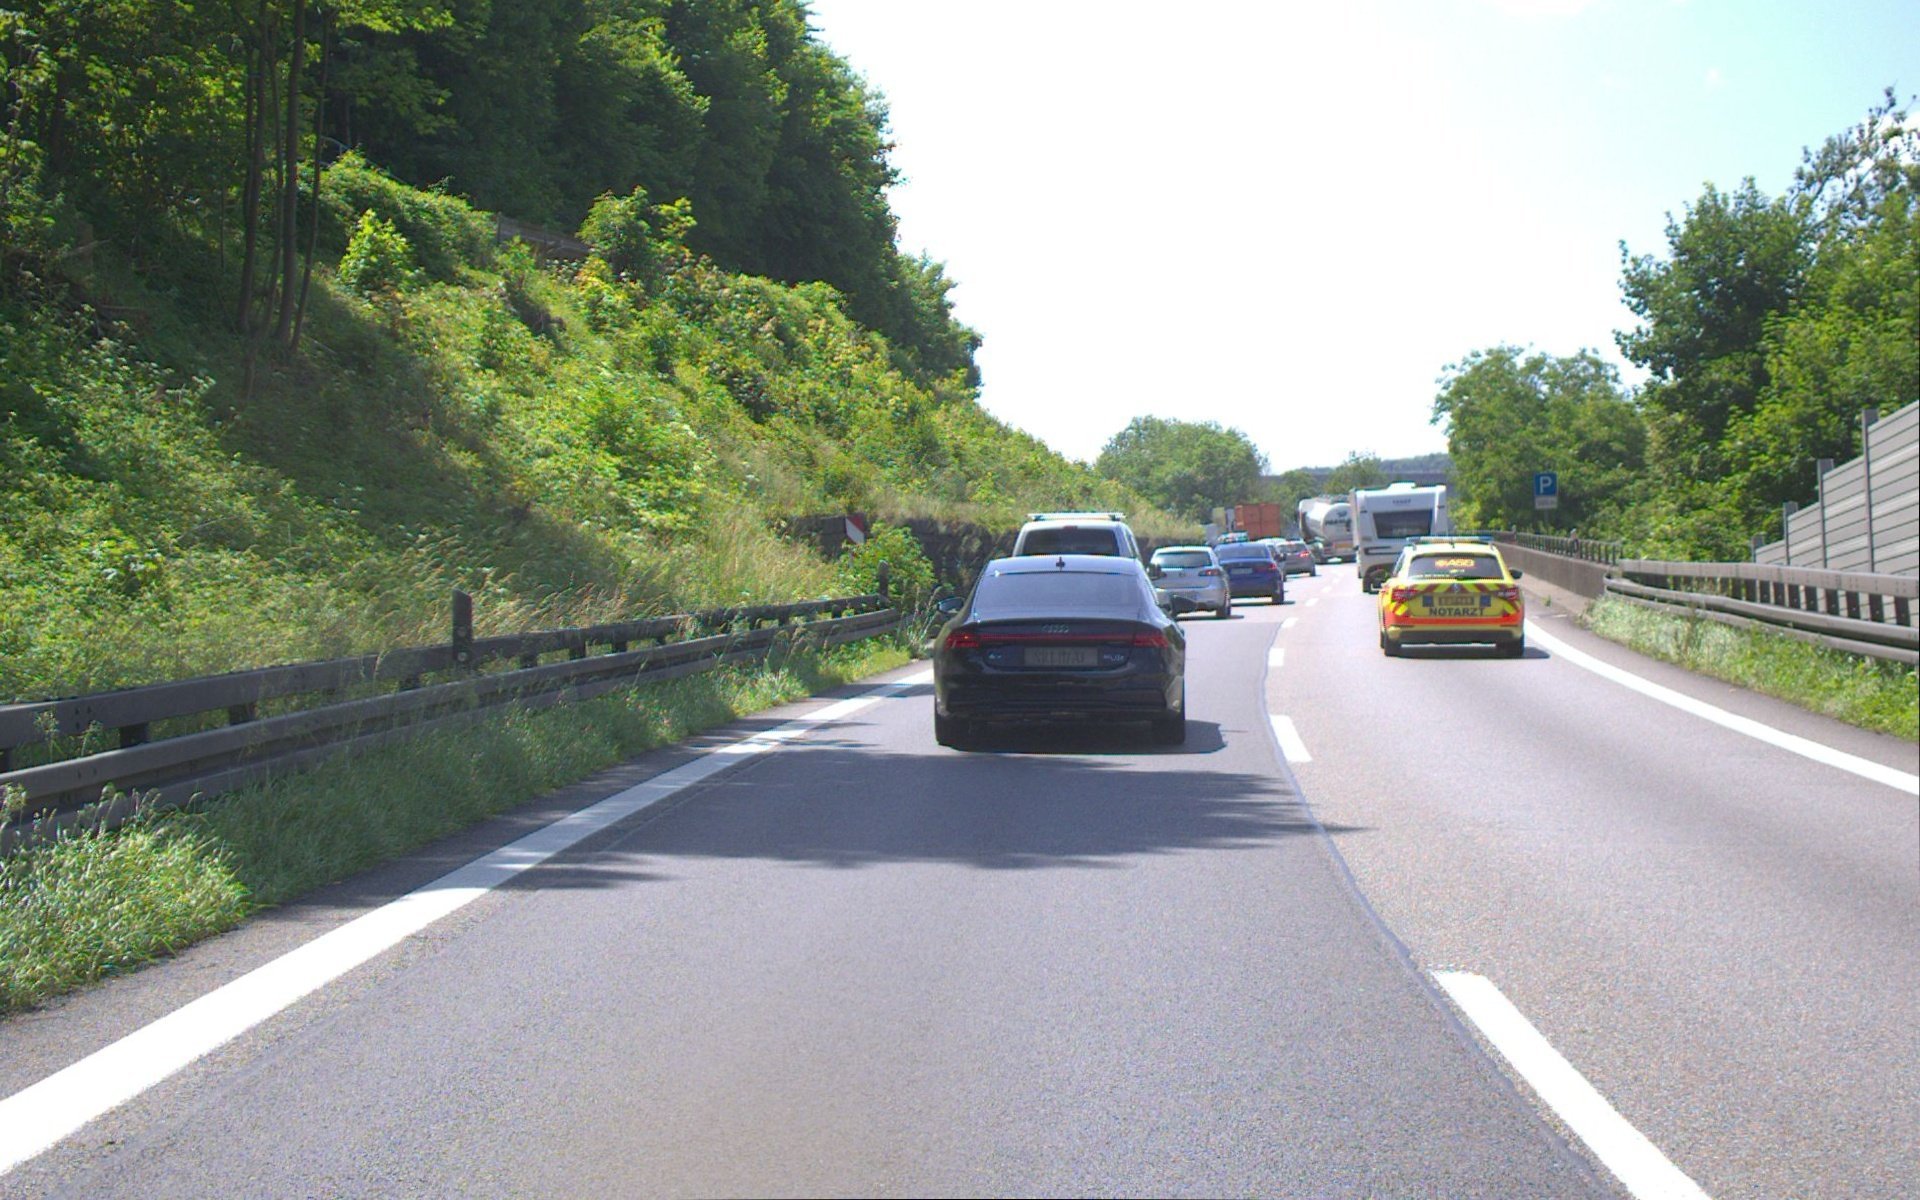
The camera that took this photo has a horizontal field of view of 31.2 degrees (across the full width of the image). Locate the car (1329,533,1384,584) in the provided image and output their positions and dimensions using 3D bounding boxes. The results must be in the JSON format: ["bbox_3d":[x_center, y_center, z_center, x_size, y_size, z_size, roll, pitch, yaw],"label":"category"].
[{"bbox_3d":[13.638,-1.440,118.323,1.841,1.711,3.999,0,1,6],"label":"car"}]

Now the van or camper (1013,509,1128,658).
[{"bbox_3d":[1.437,-0.204,43.866,1.392,1.810,4.000,0,0,3],"label":"van or camper"}]

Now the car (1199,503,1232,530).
[{"bbox_3d":[19.281,-6.305,259.628,1.993,2.007,4.000,-1,1,-2],"label":"car"}]

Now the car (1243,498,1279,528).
[{"bbox_3d":[20.448,-5.888,233.797,1.993,2.007,4.000,-1,1,-2],"label":"car"}]

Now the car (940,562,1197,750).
[{"bbox_3d":[0.792,0.398,26.677,1.837,1.345,4.000,0,0,0],"label":"car"}]

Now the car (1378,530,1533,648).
[{"bbox_3d":[6.488,-0.139,45.326,1.863,1.483,3.999,0,0,6],"label":"car"}]

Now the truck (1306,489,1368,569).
[{"bbox_3d":[19.774,-3.711,180.604,2.733,4.082,7.479,0,1,2],"label":"truck"}]

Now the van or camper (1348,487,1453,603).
[{"bbox_3d":[11.382,-1.390,89.179,2.456,2.908,6.125,0,0,5],"label":"van or camper"}]

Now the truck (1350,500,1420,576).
[{"bbox_3d":[18.024,-2.626,146.165,2.841,3.120,7.478,0,1,6],"label":"truck"}]

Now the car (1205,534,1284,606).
[{"bbox_3d":[6.614,-0.724,80.172,1.773,1.631,4.000,0,1,4],"label":"car"}]

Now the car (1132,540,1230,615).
[{"bbox_3d":[4.396,-0.435,68.017,1.747,1.426,3.999,0,0,6],"label":"car"}]

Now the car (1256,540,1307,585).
[{"bbox_3d":[11.885,-1.388,127.011,1.681,1.628,3.518,0,1,9],"label":"car"}]

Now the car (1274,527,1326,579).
[{"bbox_3d":[13.667,-1.872,138.026,1.994,2.057,3.999,0,0,7],"label":"car"}]
